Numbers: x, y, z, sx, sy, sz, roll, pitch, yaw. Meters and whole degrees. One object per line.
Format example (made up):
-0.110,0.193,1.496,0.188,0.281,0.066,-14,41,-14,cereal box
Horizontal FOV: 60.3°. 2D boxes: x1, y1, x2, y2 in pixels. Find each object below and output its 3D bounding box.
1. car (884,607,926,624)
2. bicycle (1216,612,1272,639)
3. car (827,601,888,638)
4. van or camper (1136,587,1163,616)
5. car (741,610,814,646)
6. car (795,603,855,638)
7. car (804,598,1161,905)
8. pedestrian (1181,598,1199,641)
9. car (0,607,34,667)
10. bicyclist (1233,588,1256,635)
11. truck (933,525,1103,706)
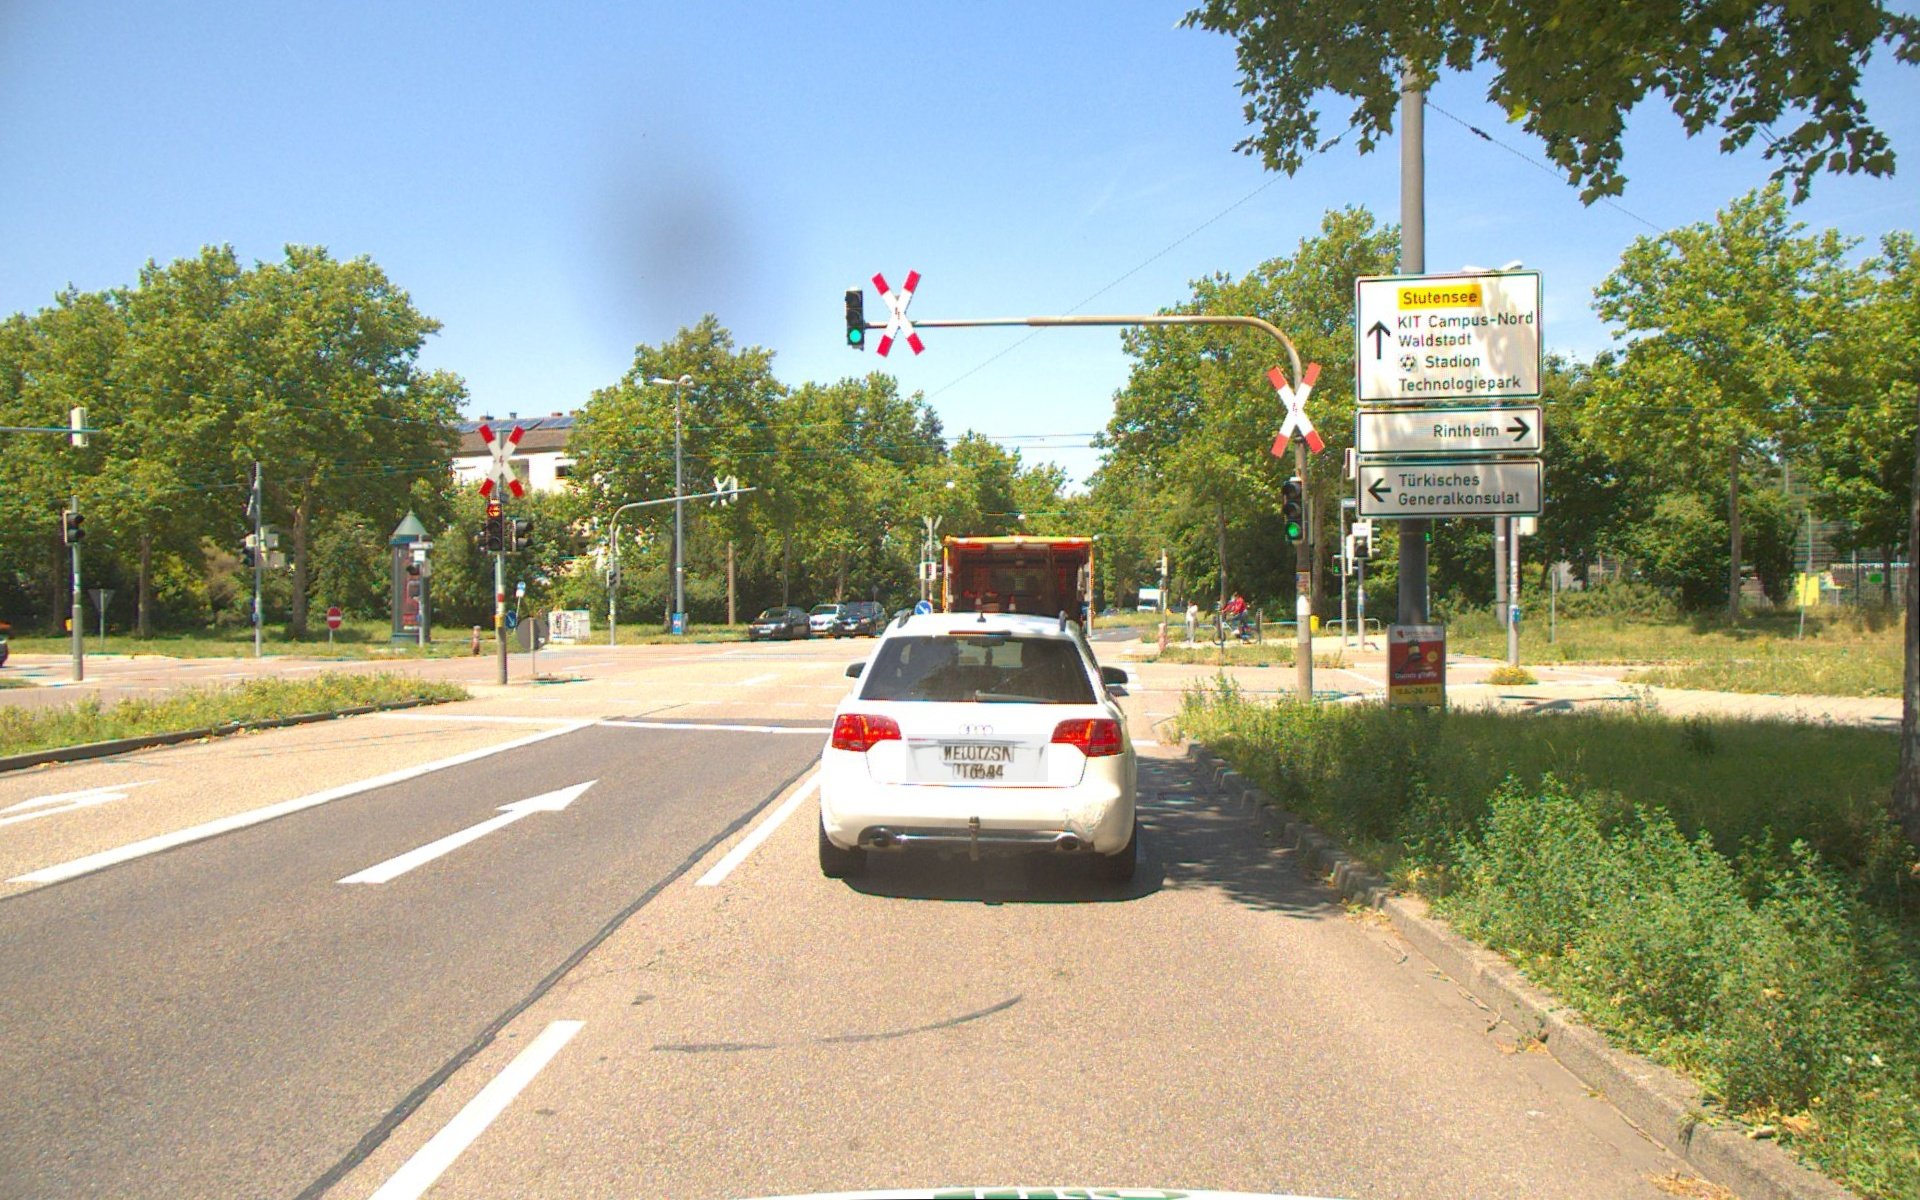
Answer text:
-4.588,1.301,138.653,1.844,1.417,3.997,-1,0,26,car
9.538,0.853,55.526,1.769,0.911,0.589,-1,0,-2,bicycle
-4.521,0.842,73.570,1.868,1.566,4.302,-1,0,8,car
22.877,0.188,199.449,2.604,3.389,5.504,0,0,14,van or camper
-7.997,1.200,73.010,1.907,1.465,4.750,0,0,10,car
-6.530,0.969,80.168,1.749,1.643,4.408,-1,0,11,car
0.209,0.734,9.858,1.725,1.470,3.617,1,0,3,car
8.066,0.685,57.928,0.541,1.510,0.630,-1,0,15,pedestrian
-25.224,0.929,41.532,3.907,1.483,1.760,-1,0,31,car
9.559,0.388,55.526,0.658,1.583,0.579,-1,0,-2,bicyclist
1.004,0.253,28.092,2.459,2.604,7.605,1,0,2,truck
